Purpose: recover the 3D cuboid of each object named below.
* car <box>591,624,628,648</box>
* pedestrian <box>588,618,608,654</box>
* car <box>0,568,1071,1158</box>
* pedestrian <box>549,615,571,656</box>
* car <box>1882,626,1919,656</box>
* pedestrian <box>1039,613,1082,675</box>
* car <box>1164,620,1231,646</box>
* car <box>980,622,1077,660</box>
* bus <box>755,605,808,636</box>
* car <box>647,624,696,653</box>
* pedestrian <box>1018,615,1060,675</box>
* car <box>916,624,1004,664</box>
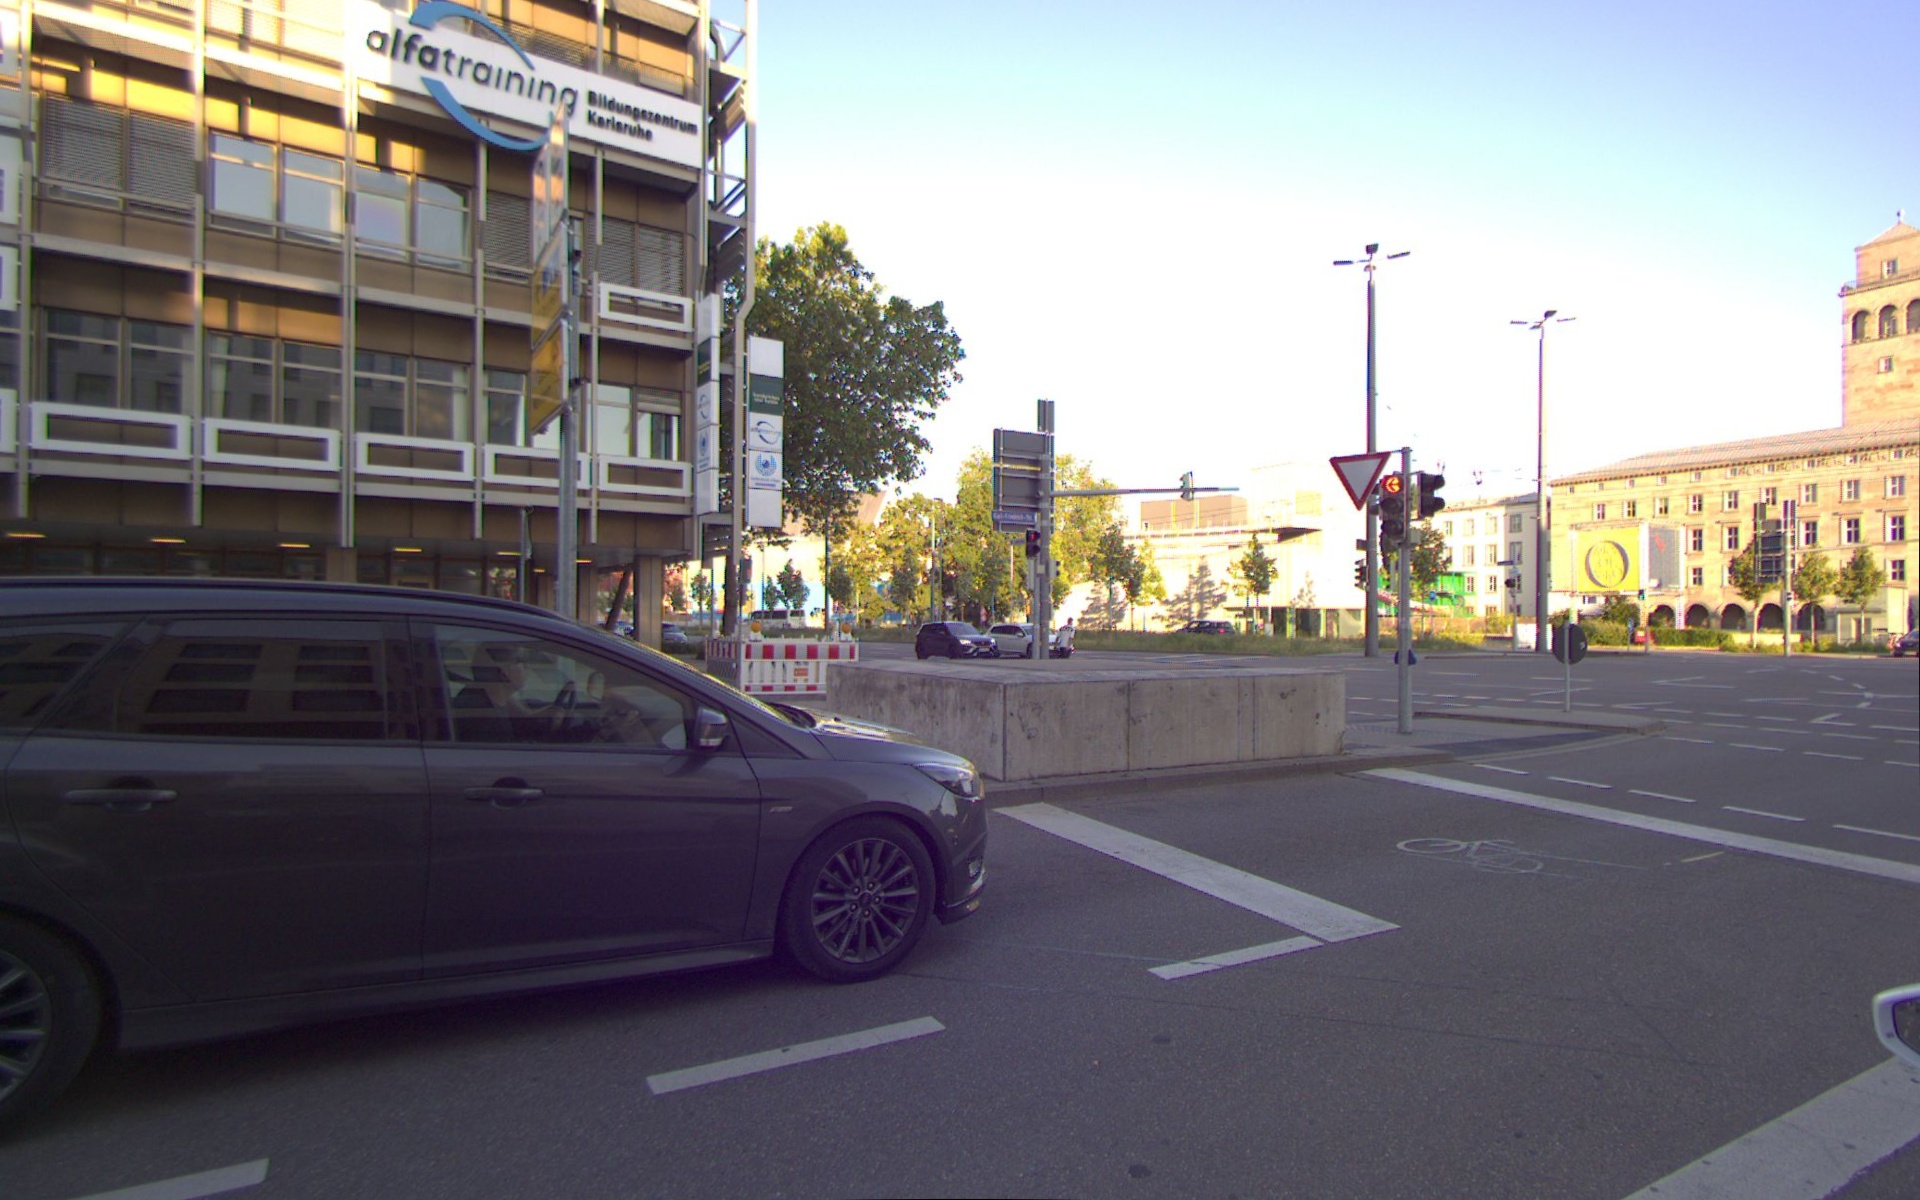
[{"bbox_3d":[-24.421,2.470,69.953,1.722,1.605,3.764,0,-1,-31],"label":"car"},{"bbox_3d":[-16.687,1.664,46.301,0.660,1.606,0.715,2,0,-34],"label":"pedestrian"},{"bbox_3d":[-1.828,0.662,3.889,4.330,1.482,1.748,1,1,-31],"label":"car"},{"bbox_3d":[-18.333,1.624,46.042,0.749,1.830,0.715,2,0,-35],"label":"pedestrian"},{"bbox_3d":[51.203,2.152,53.665,4.111,1.485,1.813,0,-1,-32],"label":"car"},{"bbox_3d":[2.900,1.265,28.961,0.949,1.744,0.816,1,-1,-34],"label":"pedestrian"},{"bbox_3d":[14.996,2.075,63.610,1.727,1.626,4.094,1,-1,-35],"label":"car"},{"bbox_3d":[2.798,1.668,41.903,1.829,1.476,4.555,0,-1,-30],"label":"car"},{"bbox_3d":[-23.250,2.673,130.254,2.959,3.818,10.341,1,-1,-34],"label":"bus"},{"bbox_3d":[-16.982,2.210,59.052,1.722,1.605,4.554,0,-1,-30],"label":"car"},{"bbox_3d":[2.338,1.324,29.754,0.949,1.744,0.816,1,-1,-34],"label":"pedestrian"},{"bbox_3d":[-0.046,1.728,40.500,1.829,1.476,3.921,0,-1,-30],"label":"car"}]
